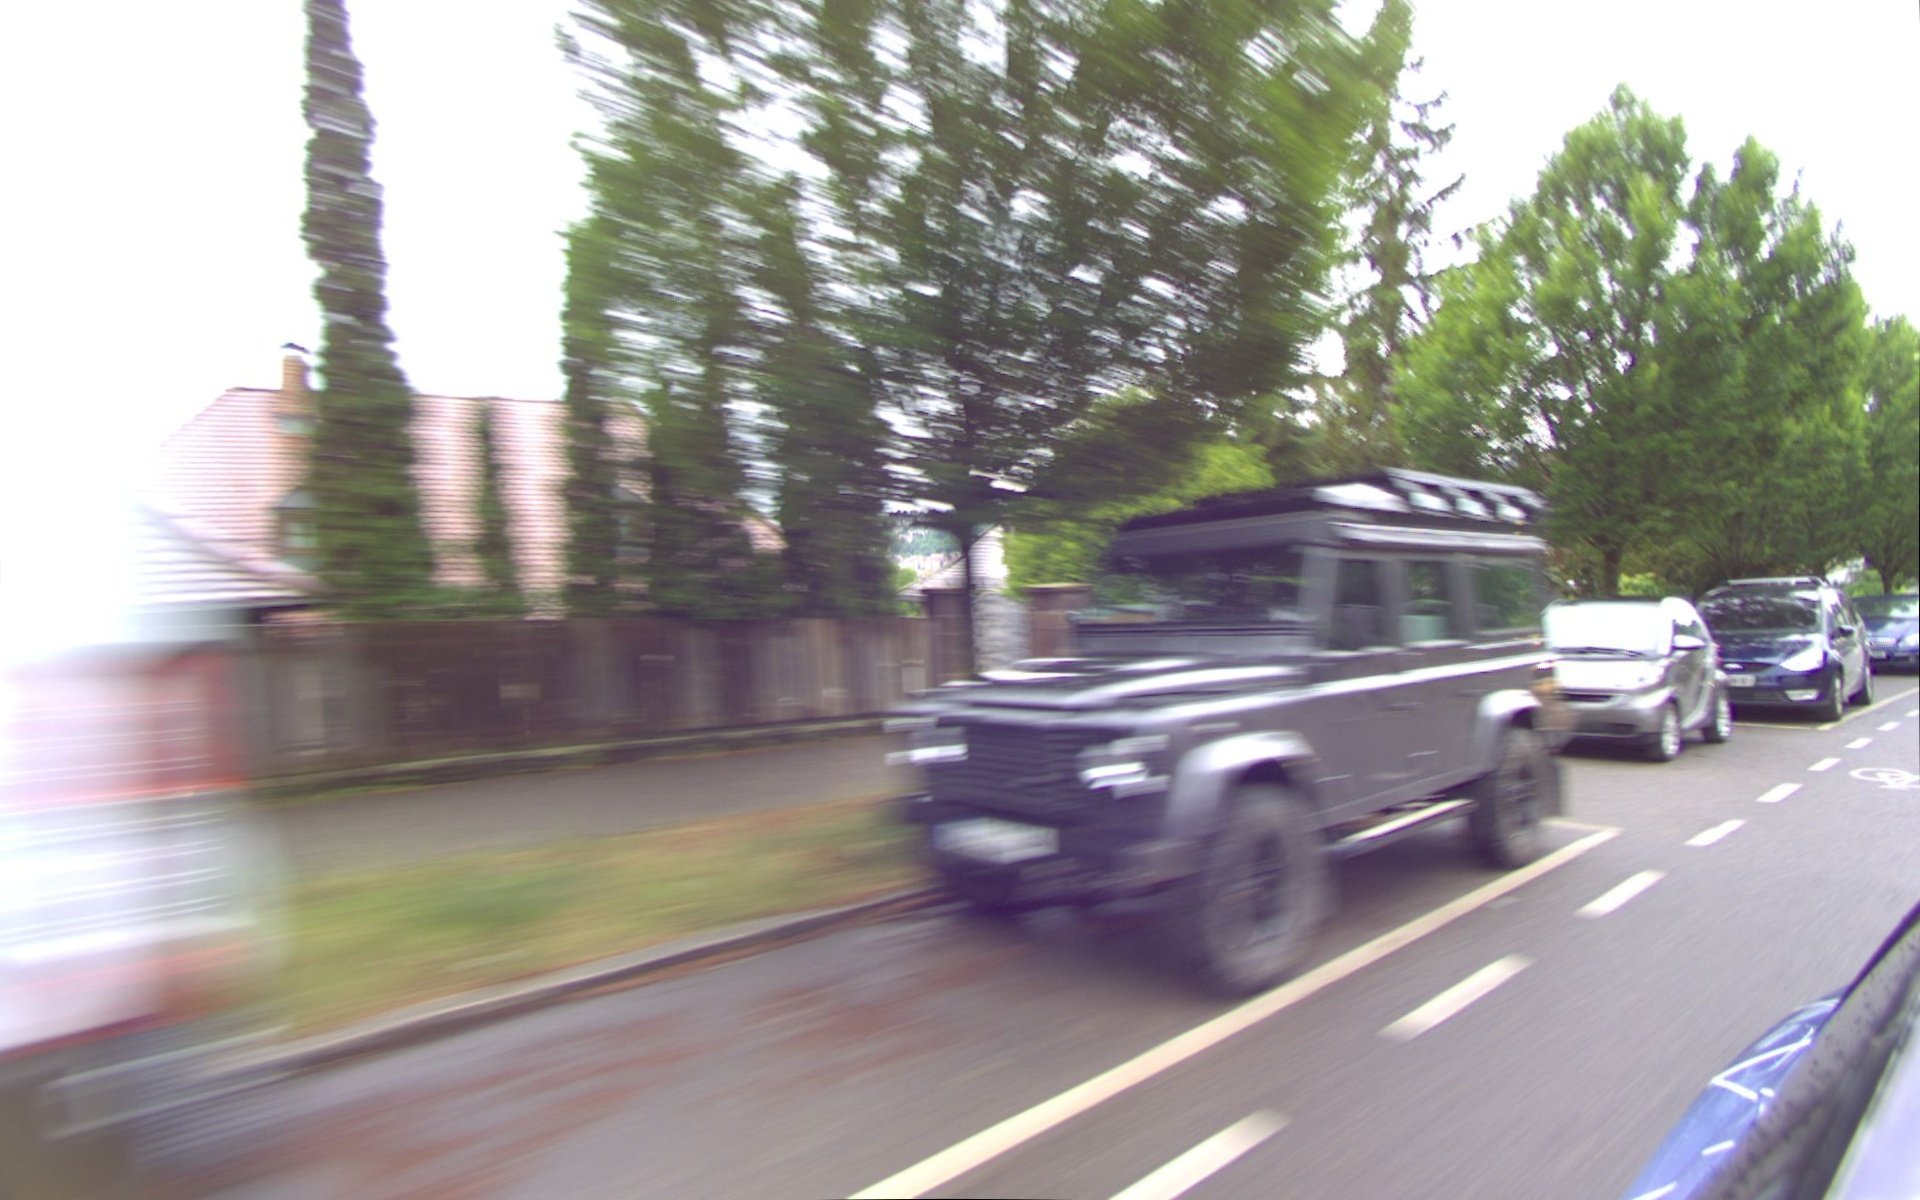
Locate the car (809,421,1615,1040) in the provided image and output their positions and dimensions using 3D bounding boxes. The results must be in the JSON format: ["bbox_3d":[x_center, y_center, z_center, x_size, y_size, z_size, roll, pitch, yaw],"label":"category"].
[{"bbox_3d":[1.822,0.424,5.848,5.034,2.078,1.996,-1,-1,-42],"label":"car"}]

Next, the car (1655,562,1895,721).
[{"bbox_3d":[11.143,0.466,13.710,4.599,1.806,1.782,-1,-1,-42],"label":"car"}]

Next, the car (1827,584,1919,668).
[{"bbox_3d":[19.248,0.476,20.544,3.850,1.591,1.697,-1,-1,-37],"label":"car"}]

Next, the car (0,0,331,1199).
[{"bbox_3d":[-4.019,0.345,0.599,5.929,2.525,2.176,-1,-3,-41],"label":"car"}]

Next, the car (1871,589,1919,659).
[{"bbox_3d":[23.440,0.501,23.890,4.761,1.557,1.998,-1,-2,-38],"label":"car"}]

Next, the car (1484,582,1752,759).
[{"bbox_3d":[6.983,0.634,10.677,2.904,1.578,1.599,-1,-1,-41],"label":"car"}]
